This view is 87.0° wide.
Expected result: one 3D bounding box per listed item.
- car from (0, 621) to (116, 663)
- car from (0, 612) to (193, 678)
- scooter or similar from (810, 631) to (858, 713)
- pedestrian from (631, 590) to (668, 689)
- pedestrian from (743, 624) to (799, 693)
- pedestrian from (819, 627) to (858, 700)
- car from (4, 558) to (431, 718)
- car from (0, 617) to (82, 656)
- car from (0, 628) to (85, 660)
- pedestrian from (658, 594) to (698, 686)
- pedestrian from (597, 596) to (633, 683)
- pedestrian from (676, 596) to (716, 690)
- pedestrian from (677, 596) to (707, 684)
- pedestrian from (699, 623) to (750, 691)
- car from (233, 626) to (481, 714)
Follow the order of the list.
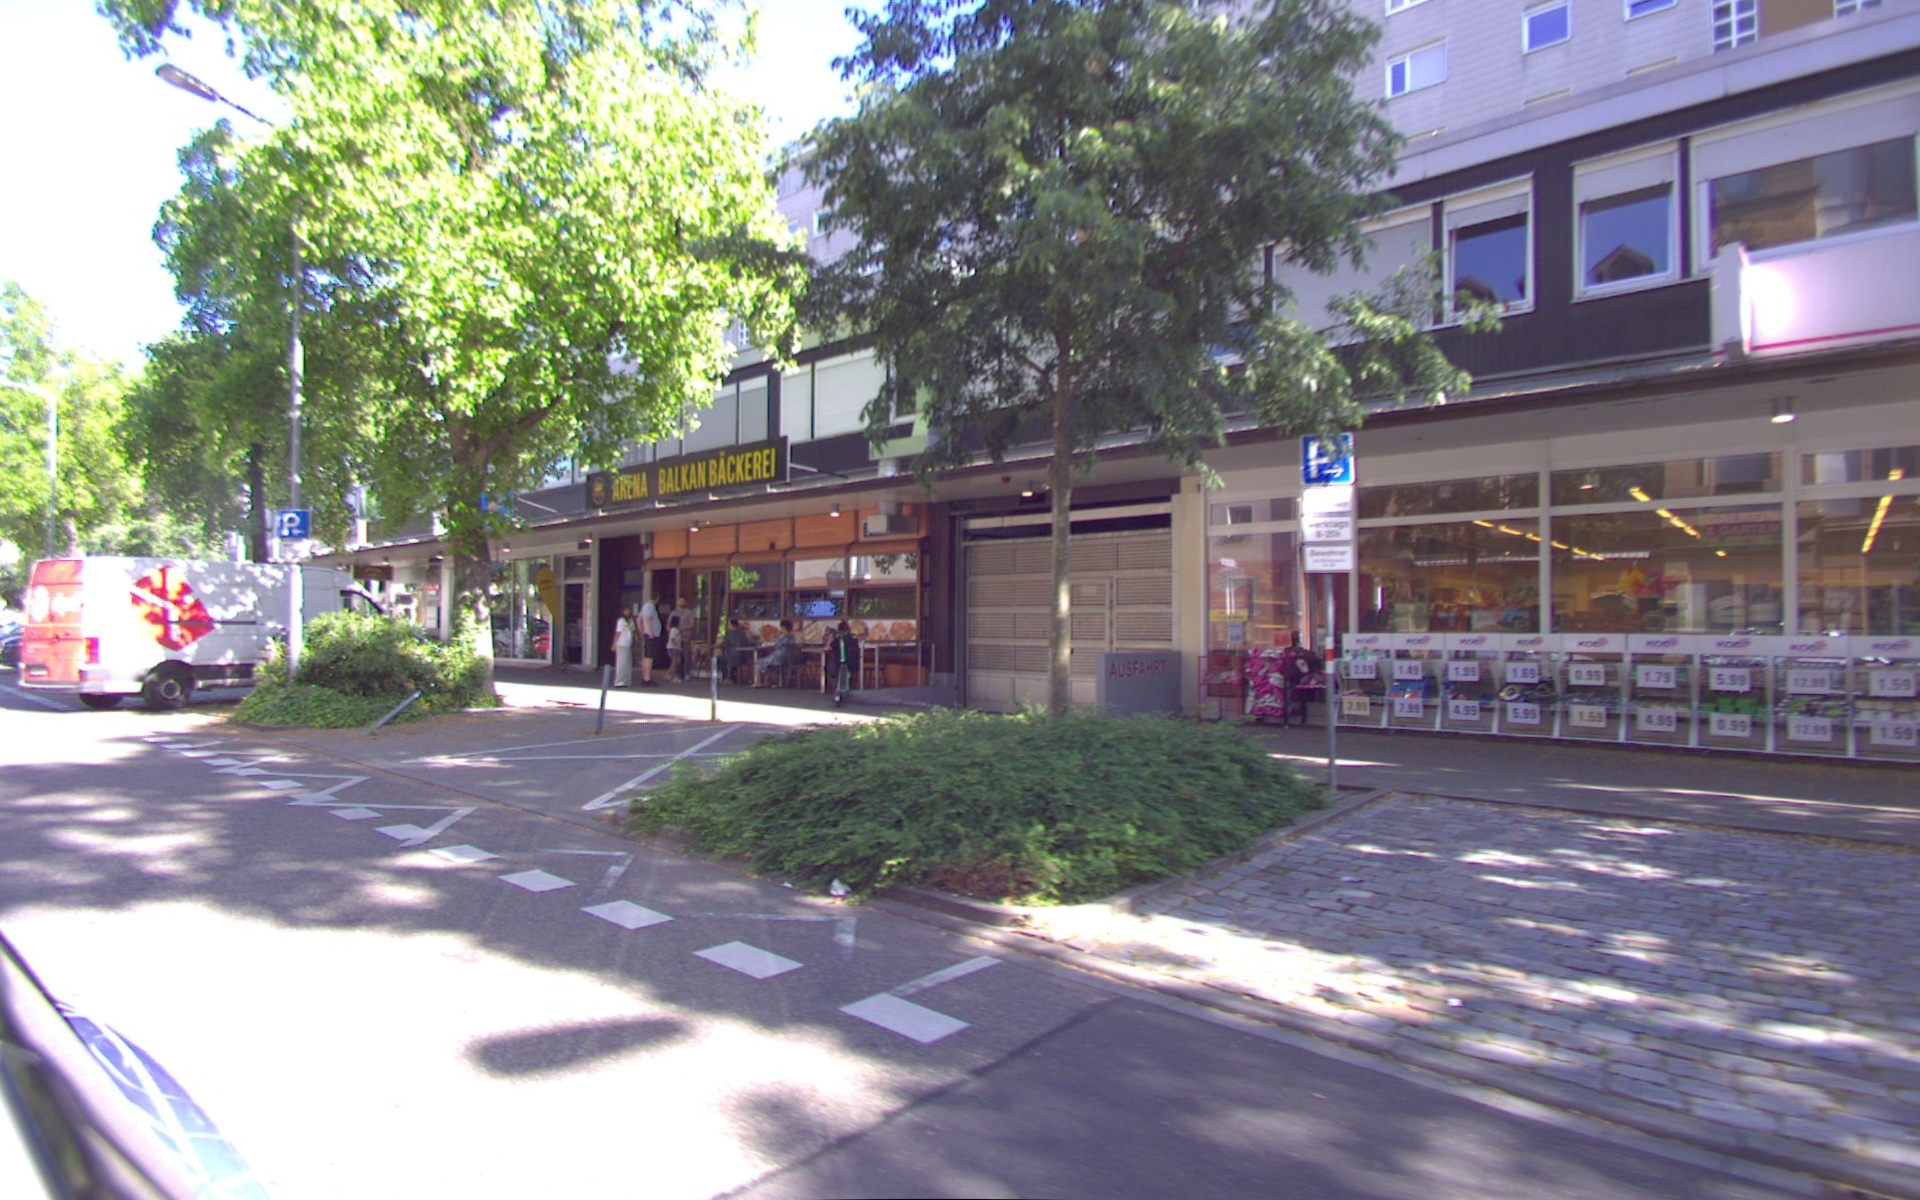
[{"bbox_3d":[-41.206,1.860,45.517,1.872,1.790,4.721,-2,-1,39],"label":"car"},{"bbox_3d":[-28.531,1.408,33.294,1.872,1.953,4.979,-2,-1,40],"label":"car"},{"bbox_3d":[-2.023,1.141,16.371,0.452,1.232,1.315,0,0,7],"label":"scooter or similar"},{"bbox_3d":[-6.283,0.794,20.485,0.590,1.950,0.589,1,-2,-27],"label":"pedestrian"},{"bbox_3d":[-3.579,1.088,19.184,0.897,1.273,0.602,-1,-2,38],"label":"pedestrian"},{"bbox_3d":[-2.124,1.098,17.712,0.636,1.250,0.325,-1,-2,38],"label":"pedestrian"},{"bbox_3d":[-13.499,0.664,19.194,1.985,2.493,6.559,-1,-1,20],"label":"car"},{"bbox_3d":[-50.230,1.946,53.957,1.908,1.984,4.933,-2,-1,39],"label":"car"},{"bbox_3d":[-43.328,2.024,46.896,1.758,1.409,3.947,-2,-2,39],"label":"car"},{"bbox_3d":[-6.015,0.845,21.583,0.579,1.918,0.588,-1,-3,39],"label":"pedestrian"},{"bbox_3d":[-7.004,0.802,20.565,0.590,1.725,0.589,1,-2,-27],"label":"pedestrian"},{"bbox_3d":[-5.543,0.890,21.218,0.579,1.918,0.588,-2,-2,40],"label":"pedestrian"},{"bbox_3d":[-5.934,0.869,22.402,0.492,1.918,0.448,-1,-2,40],"label":"pedestrian"},{"bbox_3d":[-4.856,1.159,20.850,0.953,1.351,0.558,-1,-2,39],"label":"pedestrian"},{"bbox_3d":[-11.044,1.204,18.705,1.830,1.431,3.557,-1,-2,40],"label":"car"}]
